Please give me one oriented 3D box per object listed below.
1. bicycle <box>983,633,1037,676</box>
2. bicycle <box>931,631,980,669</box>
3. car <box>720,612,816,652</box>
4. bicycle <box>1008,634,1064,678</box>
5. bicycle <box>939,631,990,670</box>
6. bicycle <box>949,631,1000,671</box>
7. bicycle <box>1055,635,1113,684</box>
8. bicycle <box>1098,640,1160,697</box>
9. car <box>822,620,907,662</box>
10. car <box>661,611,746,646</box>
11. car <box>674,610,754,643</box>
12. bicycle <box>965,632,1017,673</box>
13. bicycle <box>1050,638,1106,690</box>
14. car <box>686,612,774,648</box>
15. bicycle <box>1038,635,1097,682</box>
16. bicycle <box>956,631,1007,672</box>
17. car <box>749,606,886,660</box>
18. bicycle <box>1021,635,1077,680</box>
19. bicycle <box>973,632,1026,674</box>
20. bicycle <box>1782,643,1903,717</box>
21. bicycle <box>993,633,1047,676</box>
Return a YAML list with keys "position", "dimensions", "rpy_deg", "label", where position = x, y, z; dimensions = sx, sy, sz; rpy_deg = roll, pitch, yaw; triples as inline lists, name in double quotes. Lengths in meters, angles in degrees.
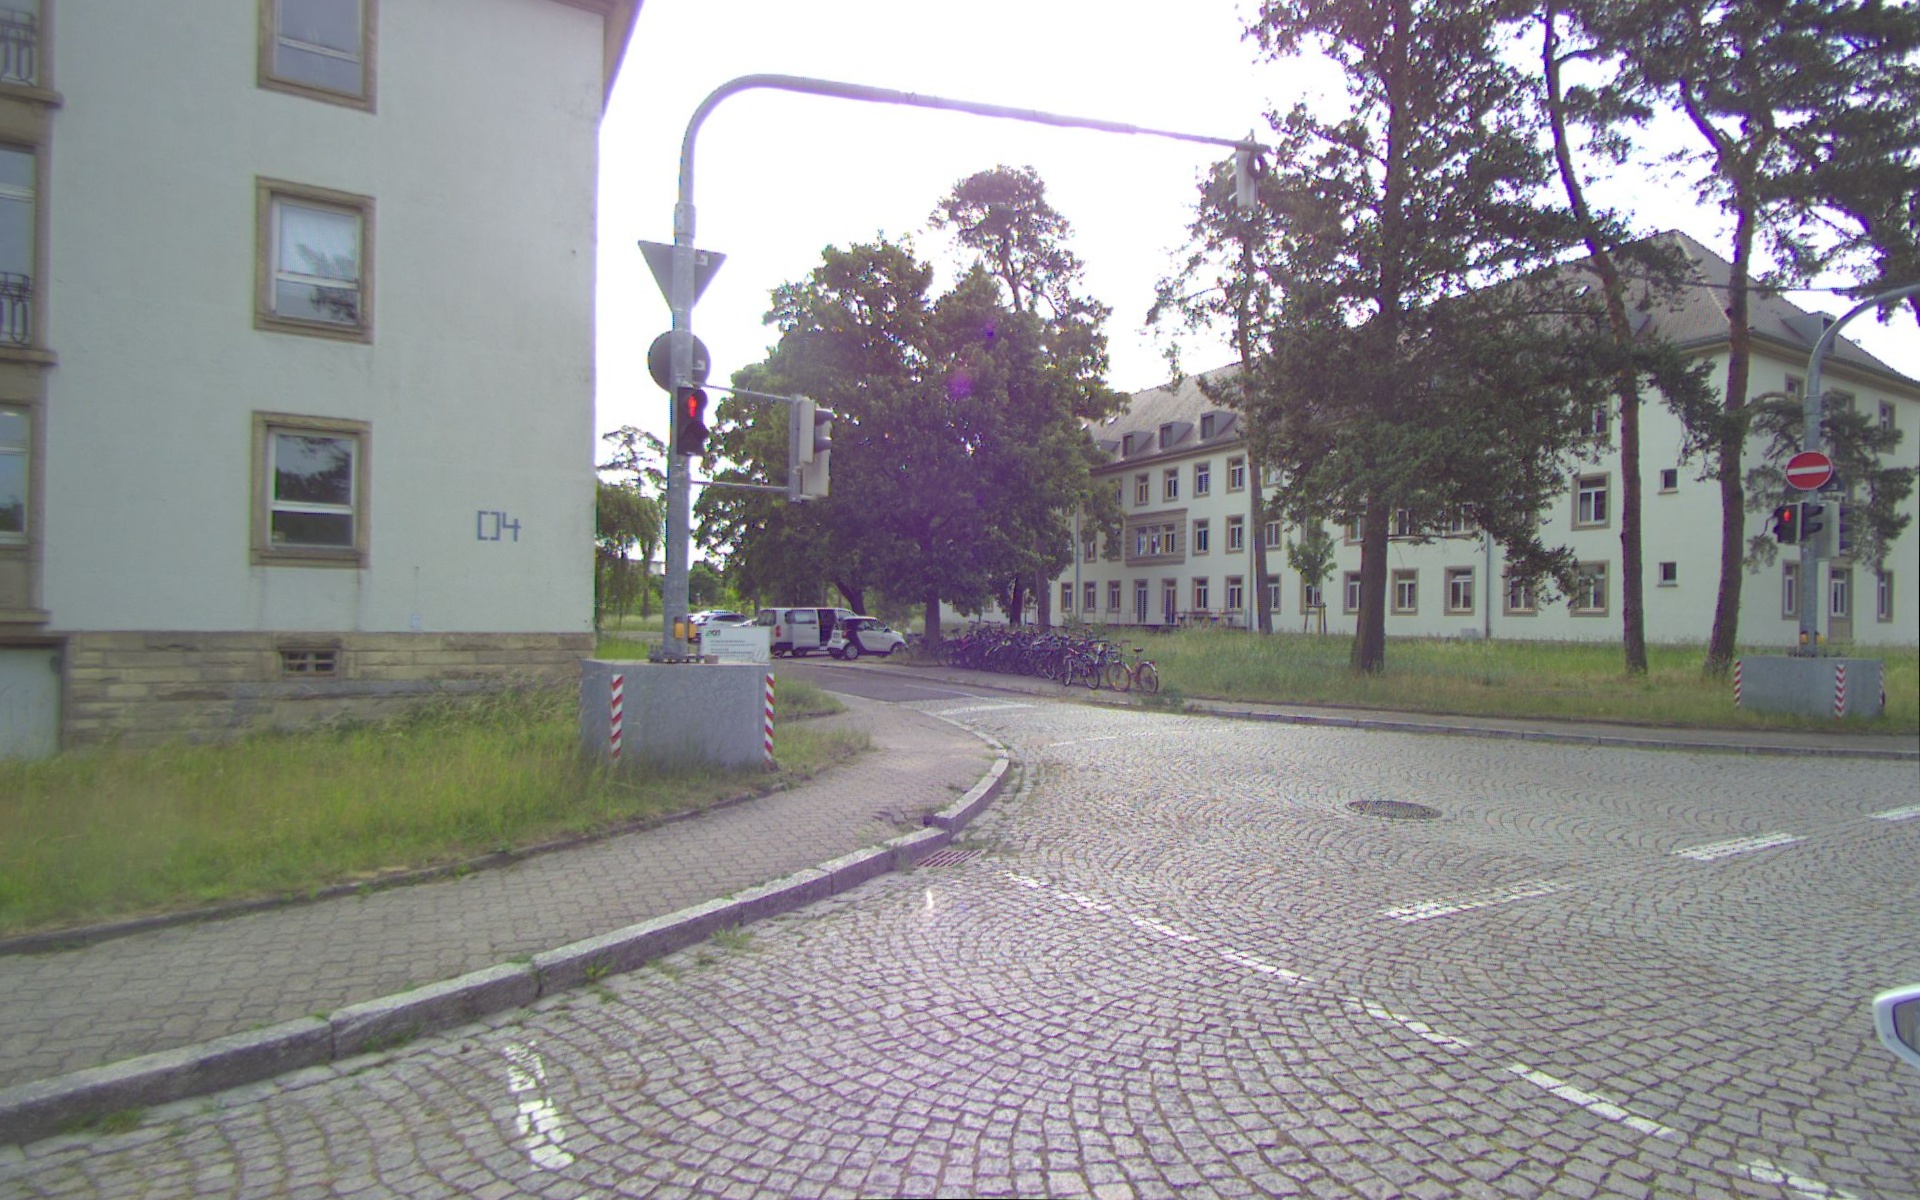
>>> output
- position: [1.357, 1.464, 27.231]
  dimensions: [1.442, 1.052, 0.493]
  rpy_deg: [-2, 1, -34]
  label: "bicycle"
- position: [-0.130, 1.484, 29.968]
  dimensions: [1.442, 1.052, 0.493]
  rpy_deg: [-2, 1, -34]
  label: "bicycle"
- position: [-9.111, 1.522, 47.725]
  dimensions: [4.055, 1.743, 1.840]
  rpy_deg: [2, 0, -37]
  label: "car"
- position: [1.986, 1.446, 26.265]
  dimensions: [1.442, 1.052, 0.493]
  rpy_deg: [-2, 1, -34]
  label: "bicycle"
- position: [0.140, 1.477, 29.579]
  dimensions: [1.442, 1.052, 0.493]
  rpy_deg: [-2, 1, -34]
  label: "bicycle"
- position: [0.425, 1.462, 29.146]
  dimensions: [1.442, 1.052, 0.493]
  rpy_deg: [-2, 1, -34]
  label: "bicycle"
- position: [2.976, 1.413, 24.073]
  dimensions: [1.443, 1.052, 0.493]
  rpy_deg: [-2, 1, -36]
  label: "bicycle"
- position: [3.510, 1.405, 20.968]
  dimensions: [0.492, 1.089, 1.406]
  rpy_deg: [-2, 1, -29]
  label: "bicycle"
- position: [-3.542, 1.487, 37.223]
  dimensions: [2.740, 1.435, 1.580]
  rpy_deg: [-1, 0, -30]
  label: "car"
- position: [-13.995, 1.540, 54.879]
  dimensions: [4.055, 1.790, 1.811]
  rpy_deg: [2, 0, -37]
  label: "car"
- position: [-14.054, 1.528, 57.564]
  dimensions: [4.055, 1.790, 1.811]
  rpy_deg: [2, 0, -37]
  label: "car"
- position: [0.884, 1.460, 28.245]
  dimensions: [1.442, 1.052, 0.493]
  rpy_deg: [-2, 1, -34]
  label: "bicycle"
- position: [2.598, 1.410, 22.283]
  dimensions: [0.492, 1.052, 1.406]
  rpy_deg: [-2, 1, -29]
  label: "bicycle"
- position: [-11.956, 1.582, 52.382]
  dimensions: [4.055, 1.743, 1.840]
  rpy_deg: [2, 0, -37]
  label: "car"
- position: [2.657, 1.435, 24.799]
  dimensions: [1.442, 1.052, 0.493]
  rpy_deg: [-2, 1, -34]
  label: "bicycle"
- position: [0.620, 1.456, 28.655]
  dimensions: [1.442, 1.052, 0.493]
  rpy_deg: [-2, 1, -34]
  label: "bicycle"
- position: [-5.592, 1.273, 39.876]
  dimensions: [5.132, 1.942, 2.011]
  rpy_deg: [-1, 0, -42]
  label: "car"
- position: [2.284, 1.450, 25.767]
  dimensions: [1.442, 1.052, 0.493]
  rpy_deg: [-2, 1, -34]
  label: "bicycle"
- position: [1.089, 1.455, 27.641]
  dimensions: [1.442, 1.052, 0.493]
  rpy_deg: [-2, 1, -34]
  label: "bicycle"
- position: [14.417, 1.286, 16.444]
  dimensions: [0.492, 1.089, 1.405]
  rpy_deg: [-2, 1, -31]
  label: "bicycle"
- position: [1.604, 1.433, 26.837]
  dimensions: [1.442, 1.052, 0.493]
  rpy_deg: [-2, 1, -34]
  label: "bicycle"
